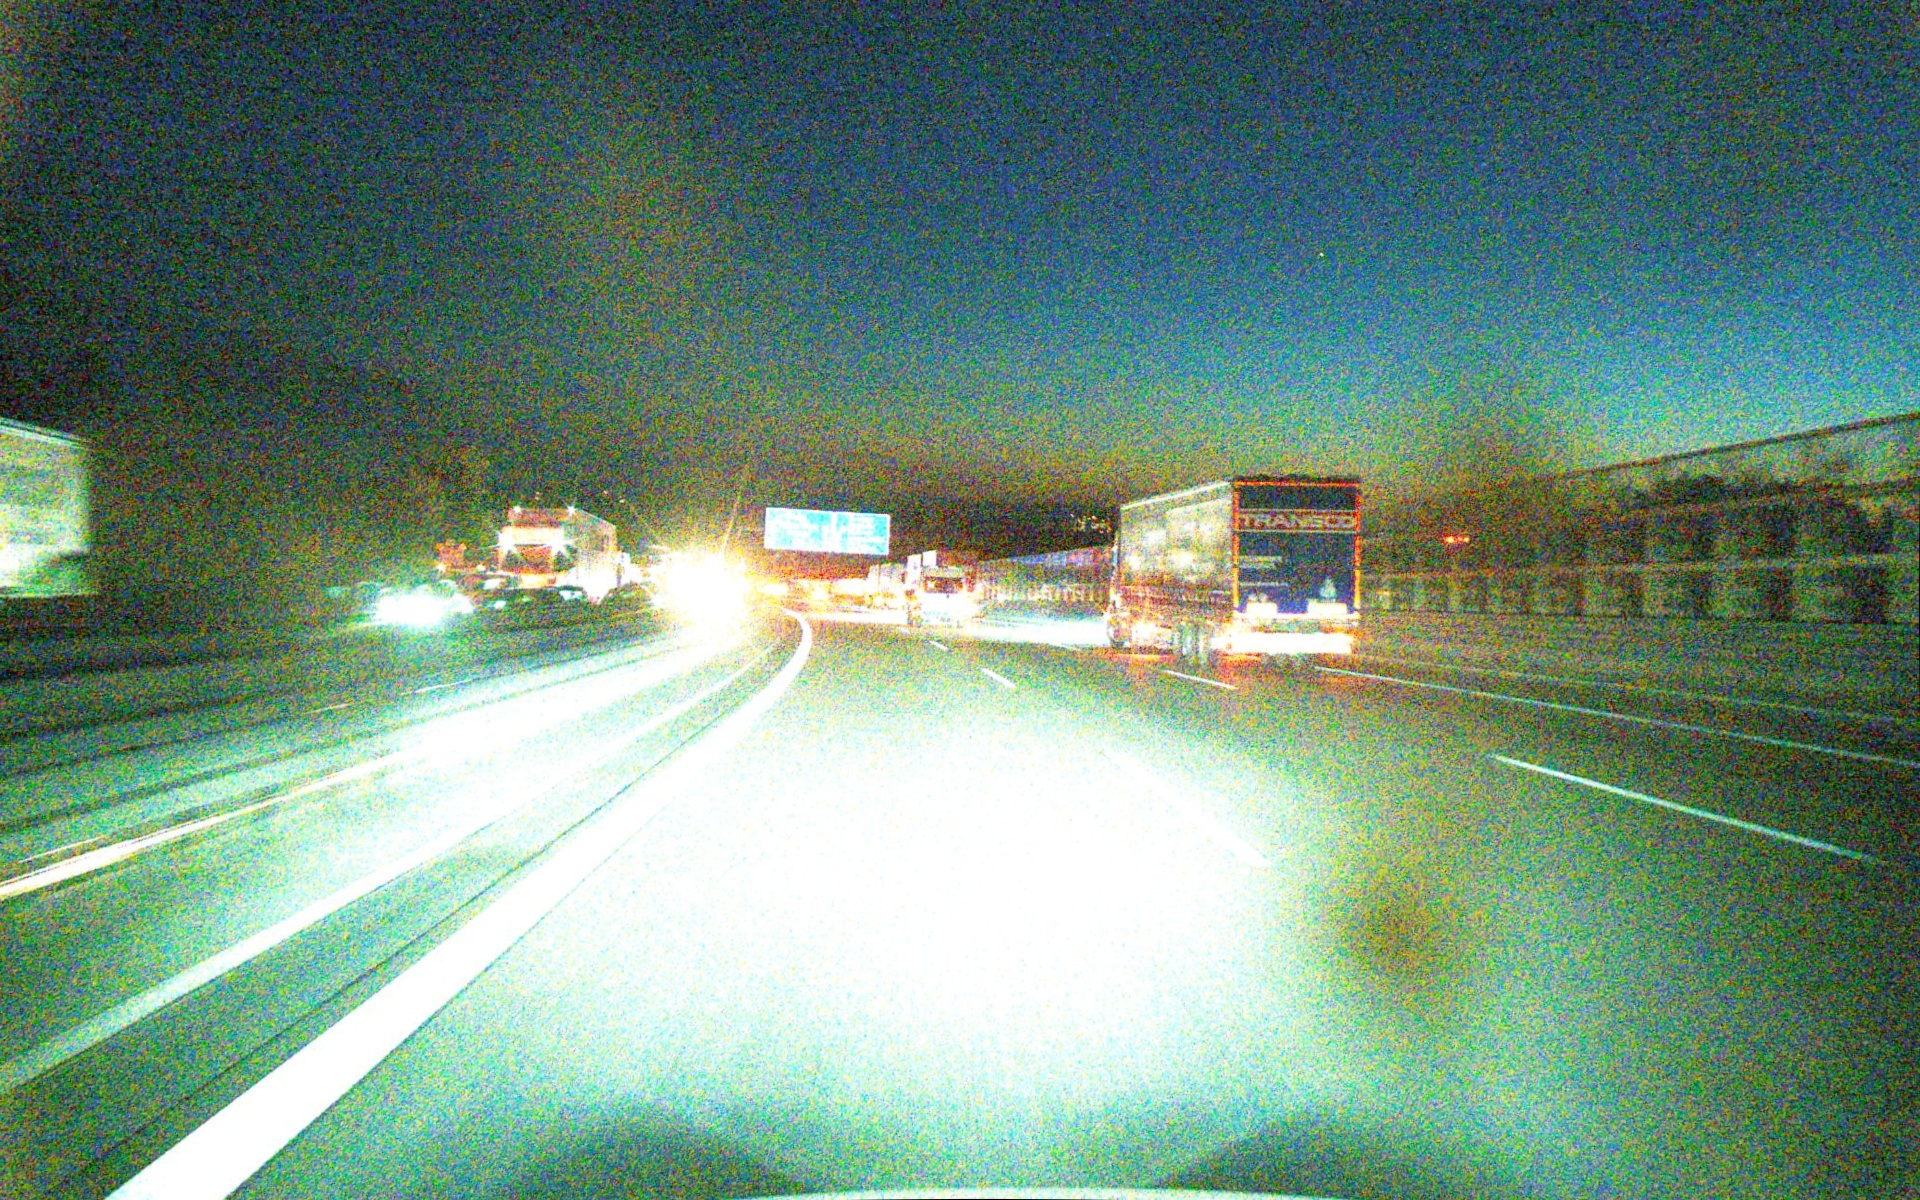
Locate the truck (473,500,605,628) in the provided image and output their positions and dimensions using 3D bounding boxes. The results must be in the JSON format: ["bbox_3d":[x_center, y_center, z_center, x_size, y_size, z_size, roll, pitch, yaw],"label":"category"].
[{"bbox_3d":[-15.357,-1.192,60.914,3.047,4.168,7.071,4,-1,-3],"label":"truck"}]

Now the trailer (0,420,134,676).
[{"bbox_3d":[-16.512,-0.827,26.990,2.767,3.986,8.724,0,1,-8],"label":"trailer"}]

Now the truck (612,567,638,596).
[{"bbox_3d":[-38.591,-2.071,190.859,2.509,3.038,7.436,2,-1,-9],"label":"truck"}]

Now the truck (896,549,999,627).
[{"bbox_3d":[-1.133,-0.644,110.431,3.842,4.708,20.973,0,0,-9],"label":"truck"}]

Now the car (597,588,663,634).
[{"bbox_3d":[-10.756,0.345,54.190,1.670,1.451,4.507,1,0,-6],"label":"car"}]

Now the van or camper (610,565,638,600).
[{"bbox_3d":[-34.177,-1.752,168.341,2.388,3.329,7.378,2,0,-9],"label":"van or camper"}]

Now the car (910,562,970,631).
[{"bbox_3d":[-0.897,-0.094,70.647,2.290,2.686,5.244,3,-2,-3],"label":"car"}]

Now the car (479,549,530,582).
[{"bbox_3d":[-22.339,-1.680,81.187,1.620,1.503,3.772,0,0,-3],"label":"car"}]

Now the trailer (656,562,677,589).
[{"bbox_3d":[-45.027,-3.708,253.882,2.834,3.735,12.185,4,-1,-10],"label":"trailer"}]

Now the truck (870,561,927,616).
[{"bbox_3d":[-5.741,-1.075,150.244,3.283,4.553,13.881,4,0,-9],"label":"truck"}]

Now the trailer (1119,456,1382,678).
[{"bbox_3d":[6.117,-0.642,37.717,2.797,4.138,13.195,1,0,-4],"label":"trailer"}]

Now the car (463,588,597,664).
[{"bbox_3d":[-8.943,0.514,34.741,1.875,1.468,4.646,1,0,-4],"label":"car"}]

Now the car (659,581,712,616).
[{"bbox_3d":[-12.281,-0.060,74.228,1.837,1.451,4.510,2,0,-3],"label":"car"}]

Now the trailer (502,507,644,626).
[{"bbox_3d":[-15.654,-1.140,68.033,3.029,4.159,12.443,4,-1,-2],"label":"trailer"}]

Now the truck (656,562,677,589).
[{"bbox_3d":[-43.898,-3.604,247.650,2.822,3.737,6.763,4,-1,-10],"label":"truck"}]

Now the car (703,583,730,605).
[{"bbox_3d":[-16.489,-0.407,112.098,1.540,1.378,3.996,2,0,-5],"label":"car"}]

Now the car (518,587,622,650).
[{"bbox_3d":[-10.381,0.469,44.319,1.797,1.580,4.511,1,0,-2],"label":"car"}]

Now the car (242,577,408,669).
[{"bbox_3d":[-13.123,0.444,34.495,1.909,1.767,4.744,1,0,-4],"label":"car"}]

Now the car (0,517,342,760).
[{"bbox_3d":[-7.950,0.279,16.181,1.838,1.956,5.602,1,0,-2],"label":"car"}]

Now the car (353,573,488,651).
[{"bbox_3d":[-13.641,0.284,42.108,1.953,1.842,4.747,1,0,-2],"label":"car"}]

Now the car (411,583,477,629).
[{"bbox_3d":[-18.951,0.188,60.899,1.191,1.624,4.510,0,0,-2],"label":"car"}]

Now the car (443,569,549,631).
[{"bbox_3d":[-14.578,-0.012,52.282,1.953,1.842,5.484,1,0,-2],"label":"car"}]

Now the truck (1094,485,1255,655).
[{"bbox_3d":[5.616,-0.751,44.628,2.805,4.148,7.504,1,0,-4],"label":"truck"}]
